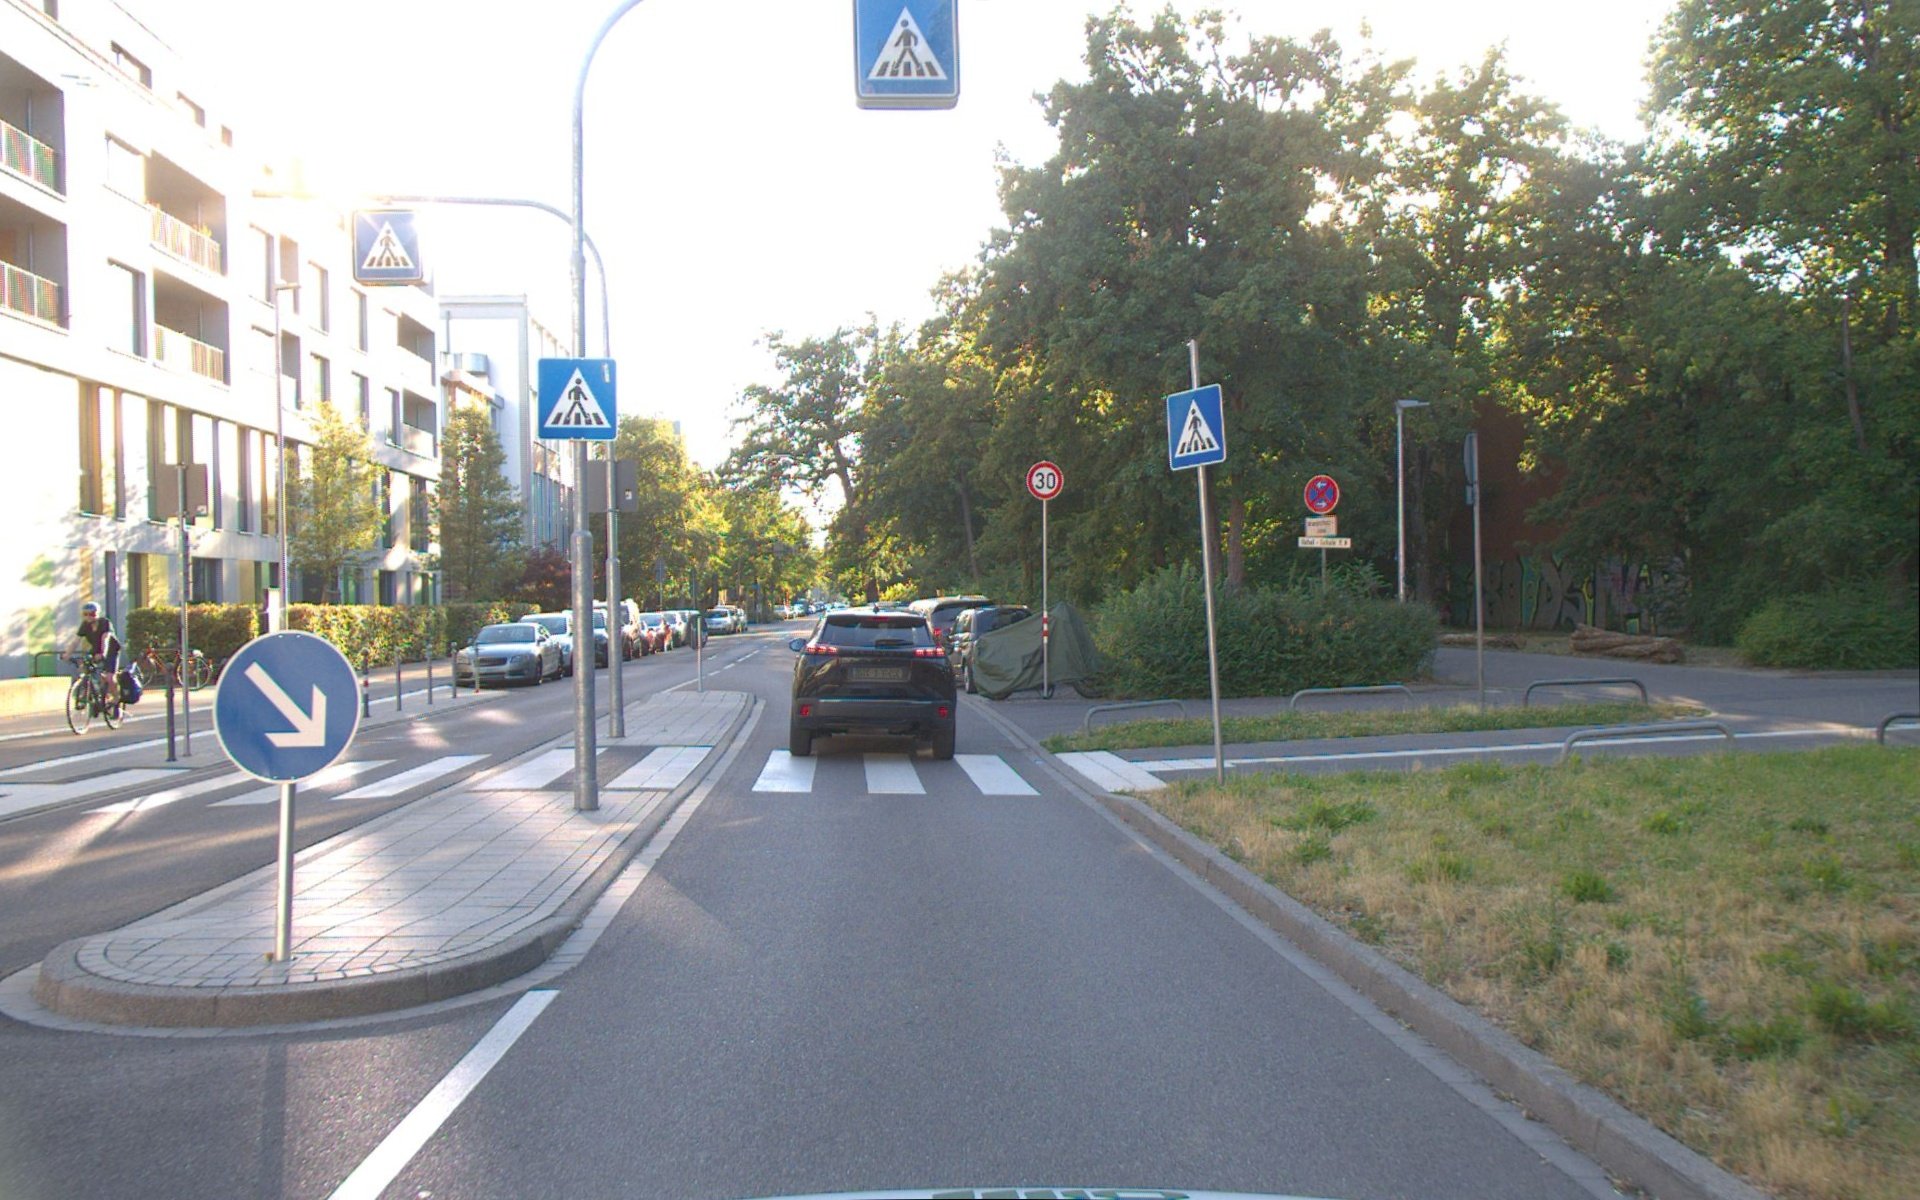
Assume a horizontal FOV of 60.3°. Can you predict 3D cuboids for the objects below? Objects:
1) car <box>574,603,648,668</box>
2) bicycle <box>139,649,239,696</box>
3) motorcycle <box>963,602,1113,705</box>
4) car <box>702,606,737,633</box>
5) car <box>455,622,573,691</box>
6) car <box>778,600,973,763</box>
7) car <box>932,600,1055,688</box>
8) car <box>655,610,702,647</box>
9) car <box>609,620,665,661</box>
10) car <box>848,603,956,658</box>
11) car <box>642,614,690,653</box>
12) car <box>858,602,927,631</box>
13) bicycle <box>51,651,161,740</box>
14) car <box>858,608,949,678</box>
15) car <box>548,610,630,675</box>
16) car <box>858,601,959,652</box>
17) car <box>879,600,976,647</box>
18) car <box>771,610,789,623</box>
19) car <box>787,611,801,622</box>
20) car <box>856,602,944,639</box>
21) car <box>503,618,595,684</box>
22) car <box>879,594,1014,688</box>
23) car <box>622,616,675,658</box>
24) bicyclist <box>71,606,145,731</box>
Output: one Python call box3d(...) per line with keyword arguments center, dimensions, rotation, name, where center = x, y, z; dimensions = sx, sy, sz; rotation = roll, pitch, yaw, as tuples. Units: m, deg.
box3d(center=(-11.304, 1.125, 53.762), dimensions=(1.772, 1.922, 4.234), rotation=(-3, 0, -5), name="car")
box3d(center=(-15.658, 1.463, 33.609), dimensions=(1.717, 0.934, 0.617), rotation=(0, -1, -6), name="bicycle")
box3d(center=(1.276, 0.860, 26.849), dimensions=(2.243, 1.572, 1.040), rotation=(-2, 0, 12), name="motorcycle")
box3d(center=(-14.020, 1.117, 96.479), dimensions=(1.638, 1.520, 4.058), rotation=(-2, 0, -3), name="car")
box3d(center=(-10.053, 1.232, 37.584), dimensions=(1.708, 1.380, 4.393), rotation=(-2, 0, -4), name="car")
box3d(center=(-1.020, 0.828, 18.186), dimensions=(1.736, 1.596, 3.372), rotation=(2, -1, -10), name="car")
box3d(center=(0.576, 0.791, 31.050), dimensions=(1.591, 1.512, 3.410), rotation=(-2, 0, -11), name="car")
box3d(center=(-12.776, 1.287, 75.315), dimensions=(1.566, 1.534, 3.785), rotation=(-3, 0, -2), name="car")
box3d(center=(-11.450, 1.411, 58.843), dimensions=(1.526, 1.302, 3.729), rotation=(-3, 0, -5), name="car")
box3d(center=(-2.036, 1.039, 57.249), dimensions=(3.541, 1.552, 1.669), rotation=(-5, 0, -6), name="car")
box3d(center=(-12.329, 1.395, 69.538), dimensions=(1.567, 1.480, 4.051), rotation=(-3, 0, -5), name="car")
box3d(center=(-4.112, 1.001, 101.129), dimensions=(4.085, 1.740, 1.867), rotation=(-1, 0, 0), name="car")
box3d(center=(-11.640, 1.279, 22.604), dimensions=(0.621, 1.097, 1.881), rotation=(-2, 0, -5), name="bicycle")
box3d(center=(-1.463, 1.027, 40.967), dimensions=(1.621, 1.595, 4.290), rotation=(-2, 0, -10), name="car")
box3d(center=(-10.790, 1.194, 48.345), dimensions=(1.708, 1.705, 4.412), rotation=(-3, 0, -5), name="car")
box3d(center=(-1.964, 0.987, 62.325), dimensions=(3.597, 1.579, 1.733), rotation=(-5, 0, -6), name="car")
box3d(center=(-1.305, 0.914, 65.043), dimensions=(3.652, 1.524, 1.818), rotation=(-5, -1, -4), name="car")
box3d(center=(-20.115, 1.822, 185.157), dimensions=(1.777, 1.378, 3.992), rotation=(-2, 0, -9), name="car")
box3d(center=(-22.610, 2.233, 225.133), dimensions=(1.776, 1.378, 3.972), rotation=(-2, 0, -8), name="car")
box3d(center=(-3.024, 1.043, 83.127), dimensions=(4.252, 1.500, 1.741), rotation=(-4, 1, -3), name="car")
box3d(center=(-10.583, 1.277, 42.803), dimensions=(1.708, 1.560, 4.110), rotation=(-2, 0, -6), name="car")
box3d(center=(-0.368, 0.831, 35.144), dimensions=(1.889, 1.779, 4.651), rotation=(-2, 0, -13), name="car")
box3d(center=(-11.940, 1.395, 63.520), dimensions=(1.567, 1.480, 3.857), rotation=(-2, 0, -5), name="car")
box3d(center=(-11.658, 0.923, 22.640), dimensions=(0.614, 1.673, 0.757), rotation=(-2, 0, -4), name="bicyclist")
